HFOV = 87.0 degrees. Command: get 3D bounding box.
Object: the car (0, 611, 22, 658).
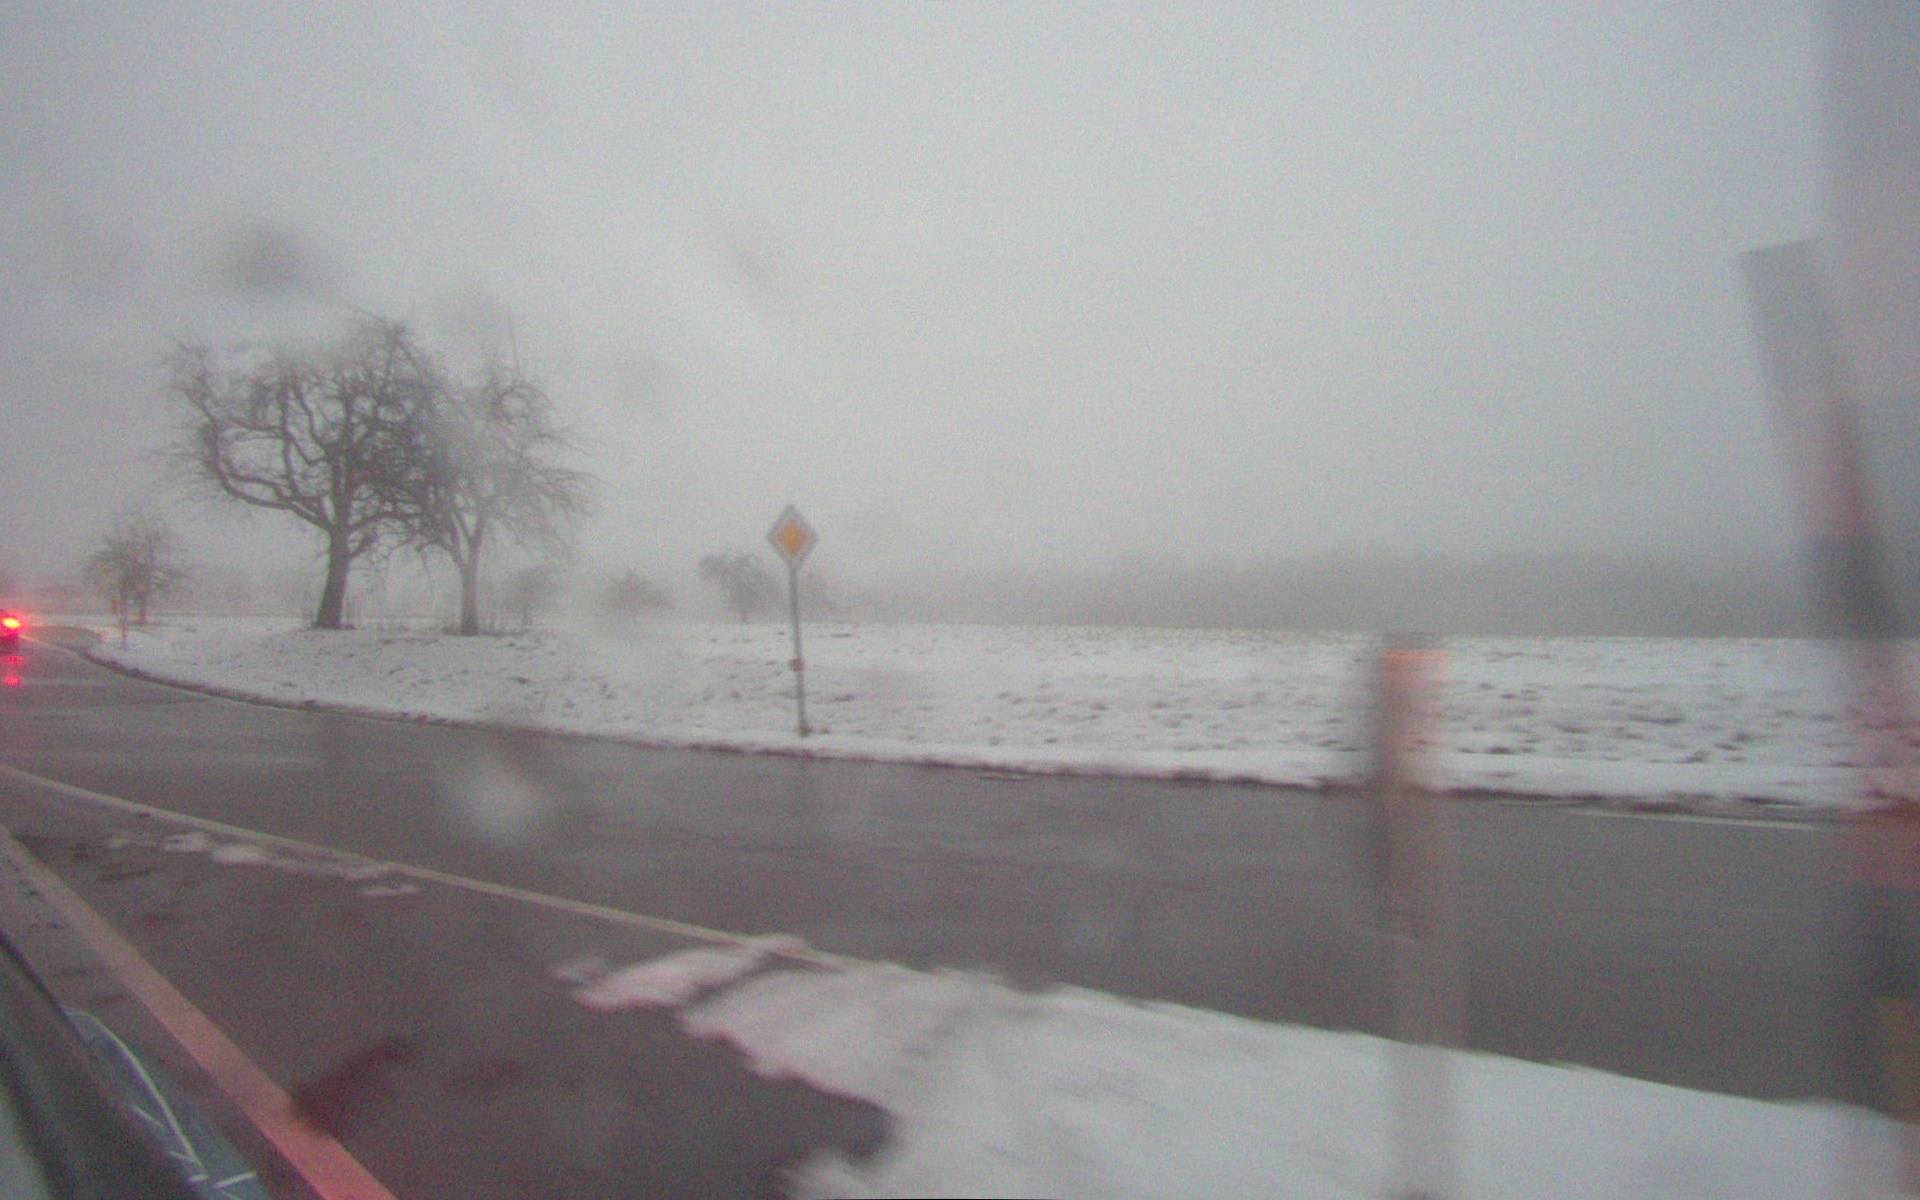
[{"bbox_3d":[-31.882,1.112,32.761,4.001,1.498,1.724,-2,-3,40],"label":"car"}]
